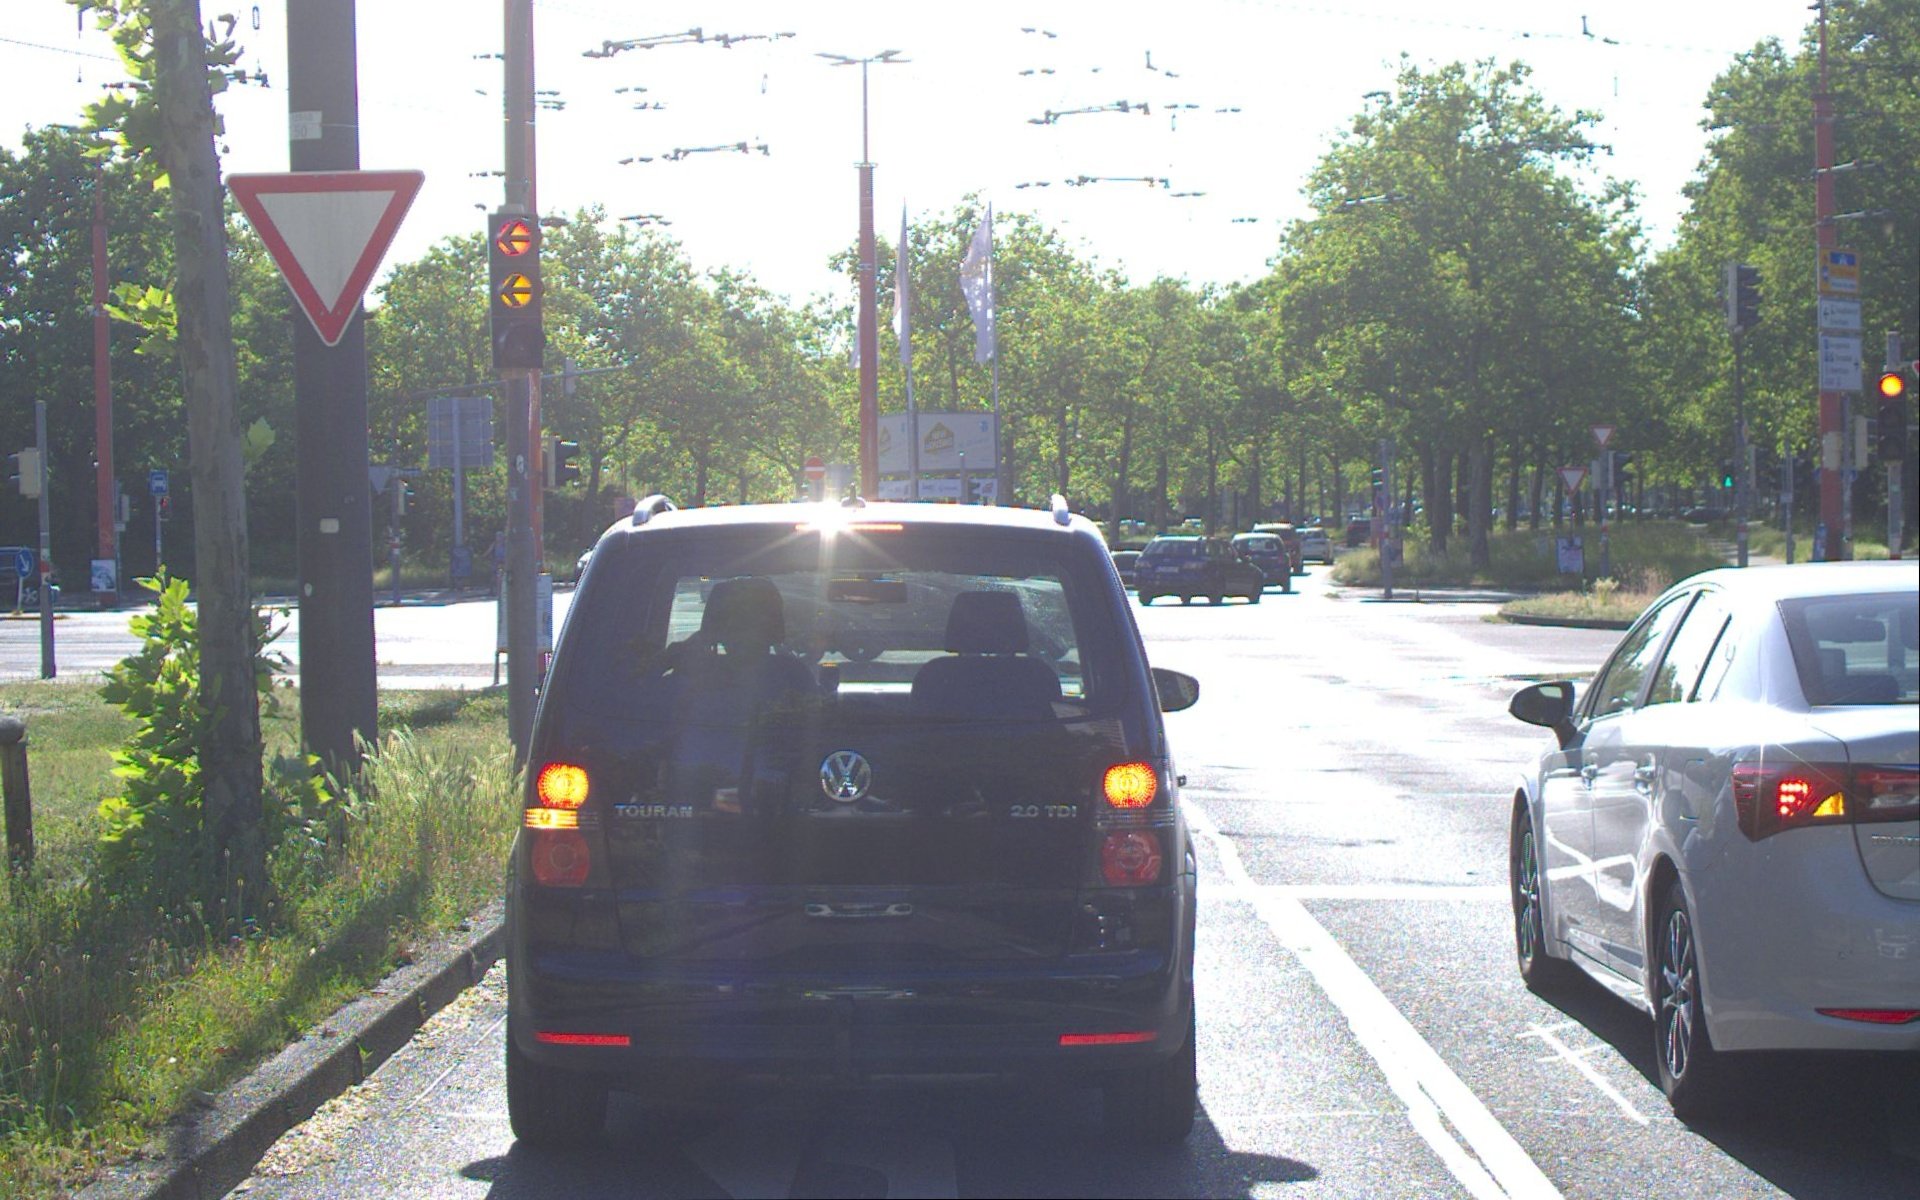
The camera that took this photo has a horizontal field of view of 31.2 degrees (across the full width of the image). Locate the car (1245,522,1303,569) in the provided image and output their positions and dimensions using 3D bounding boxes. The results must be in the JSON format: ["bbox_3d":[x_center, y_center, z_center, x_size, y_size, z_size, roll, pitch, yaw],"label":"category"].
[{"bbox_3d":[10.571,-1.848,115.931,1.790,1.497,4.049,0,2,3],"label":"car"}]

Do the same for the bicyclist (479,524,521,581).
[{"bbox_3d":[-12.628,-1.305,94.326,0.759,1.552,0.980,-1,2,17],"label":"bicyclist"}]

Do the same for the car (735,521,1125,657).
[{"bbox_3d":[-0.399,-0.151,44.903,4.684,1.698,1.997,0,1,25],"label":"car"}]

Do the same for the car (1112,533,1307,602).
[{"bbox_3d":[5.280,-0.699,72.495,4.038,1.383,1.795,-1,2,-41],"label":"car"}]

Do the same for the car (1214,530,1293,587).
[{"bbox_3d":[7.494,-1.080,88.033,1.790,1.383,4.050,0,2,2],"label":"car"}]

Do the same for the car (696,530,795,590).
[{"bbox_3d":[-5.678,-1.070,91.452,1.768,1.533,4.090,0,1,9],"label":"car"}]

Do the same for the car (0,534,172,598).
[{"bbox_3d":[-24.773,-0.978,96.947,4.637,1.720,1.909,-1,1,-27],"label":"car"}]

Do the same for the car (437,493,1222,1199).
[{"bbox_3d":[-0.303,0.522,10.260,1.767,1.638,4.924,0,1,0],"label":"car"}]

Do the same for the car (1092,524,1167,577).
[{"bbox_3d":[4.733,-1.399,95.724,1.790,1.383,4.049,1,2,7],"label":"car"}]

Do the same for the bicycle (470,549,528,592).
[{"bbox_3d":[-12.635,-0.815,94.260,0.764,1.087,2.014,-1,2,17],"label":"bicycle"}]

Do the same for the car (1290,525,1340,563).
[{"bbox_3d":[13.778,-2.188,133.674,1.790,1.383,4.049,0,2,4],"label":"car"}]

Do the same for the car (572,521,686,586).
[{"bbox_3d":[-8.978,-1.289,93.714,1.903,1.720,4.652,0,1,10],"label":"car"}]

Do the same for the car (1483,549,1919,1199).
[{"bbox_3d":[2.717,0.606,10.079,1.767,1.459,4.366,0,1,1],"label":"car"}]
